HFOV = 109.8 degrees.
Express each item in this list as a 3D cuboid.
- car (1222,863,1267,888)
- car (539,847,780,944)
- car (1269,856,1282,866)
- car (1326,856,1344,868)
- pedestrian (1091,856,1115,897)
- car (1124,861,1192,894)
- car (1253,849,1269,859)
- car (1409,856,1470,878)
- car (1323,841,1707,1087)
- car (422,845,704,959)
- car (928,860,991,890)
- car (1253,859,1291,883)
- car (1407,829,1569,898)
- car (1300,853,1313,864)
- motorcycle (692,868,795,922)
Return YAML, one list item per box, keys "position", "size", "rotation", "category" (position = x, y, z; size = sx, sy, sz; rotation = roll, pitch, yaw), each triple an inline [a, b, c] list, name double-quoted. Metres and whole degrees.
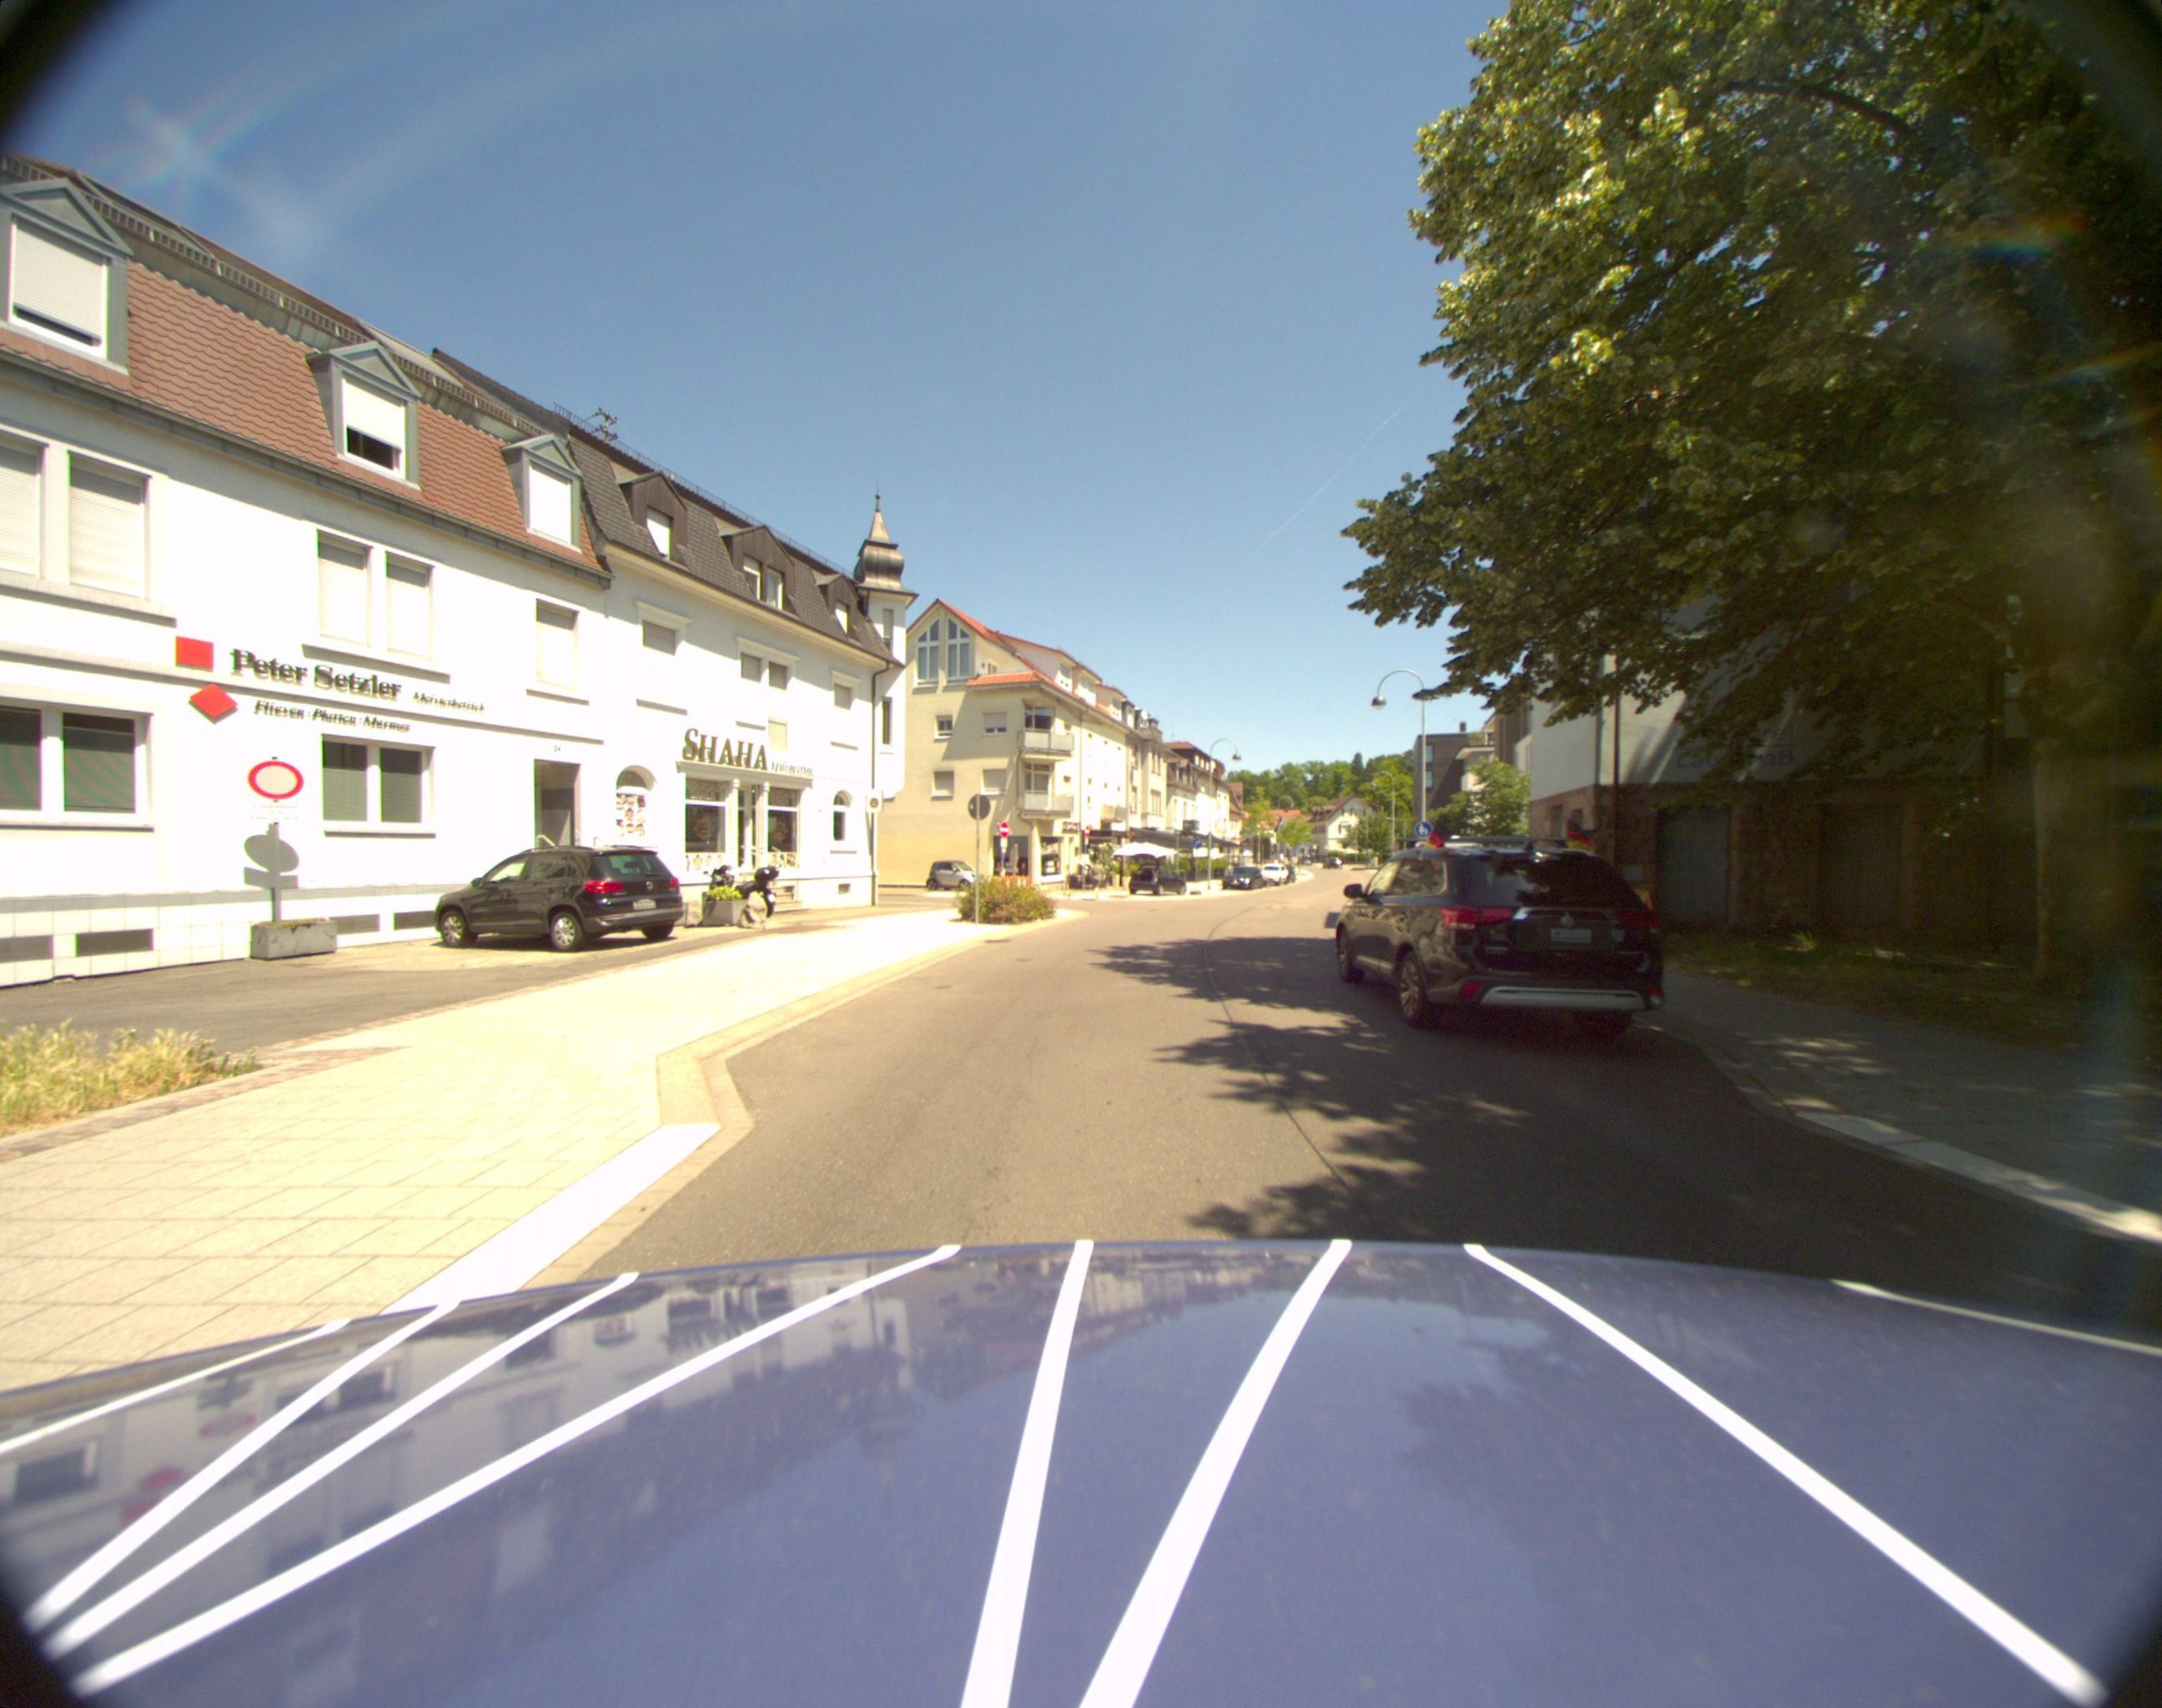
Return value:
- position: [10.280, 1.319, 47.454]
  size: [1.725, 1.397, 4.617]
  rotation: [2, 1, 25]
  category: "car"
- position: [-8.222, 0.759, 14.877]
  size: [4.079, 1.706, 1.859]
  rotation: [-1, 0, 20]
  category: "car"
- position: [30.088, 1.101, 117.373]
  size: [1.680, 1.505, 3.391]
  rotation: [0, 0, 20]
  category: "car"
- position: [33.772, 1.078, 101.116]
  size: [1.896, 1.544, 4.804]
  rotation: [-1, -1, 15]
  category: "car"
- position: [0.982, 1.005, 34.231]
  size: [0.746, 1.785, 0.845]
  rotation: [0, -1, 28]
  category: "pedestrian"
- position: [3.917, 1.143, 38.214]
  size: [1.872, 1.483, 3.869]
  rotation: [2, 1, 32]
  category: "car"
- position: [30.925, 0.000, 130.552]
  size: [1.734, 1.464, 4.323]
  rotation: [2, 1, 2]
  category: "car"
- position: [26.246, 0.977, 55.779]
  size: [3.991, 1.506, 2.003]
  rotation: [-1, 0, 22]
  category: "car"
- position: [3.906, 0.820, 7.828]
  size: [1.744, 1.762, 4.339]
  rotation: [2, 0, 5]
  category: "car"
- position: [-8.725, 0.747, 12.853]
  size: [4.079, 1.706, 1.859]
  rotation: [-1, 0, 20]
  category: "car"
- position: [-6.182, 1.040, 38.705]
  size: [2.730, 1.463, 1.533]
  rotation: [-1, 0, 20]
  category: "car"
- position: [13.626, 1.182, 54.075]
  size: [1.738, 1.477, 4.061]
  rotation: [3, 2, 27]
  category: "car"
- position: [16.934, 0.439, 32.063]
  size: [5.773, 2.716, 2.295]
  rotation: [-1, 0, 22]
  category: "car"
- position: [36.433, 0.748, 123.002]
  size: [1.813, 1.691, 4.080]
  rotation: [0, 0, 13]
  category: "car"
- position: [-8.311, 0.977, 18.720]
  size: [2.379, 1.268, 0.857]
  rotation: [-1, 0, 21]
  category: "motorcycle"
